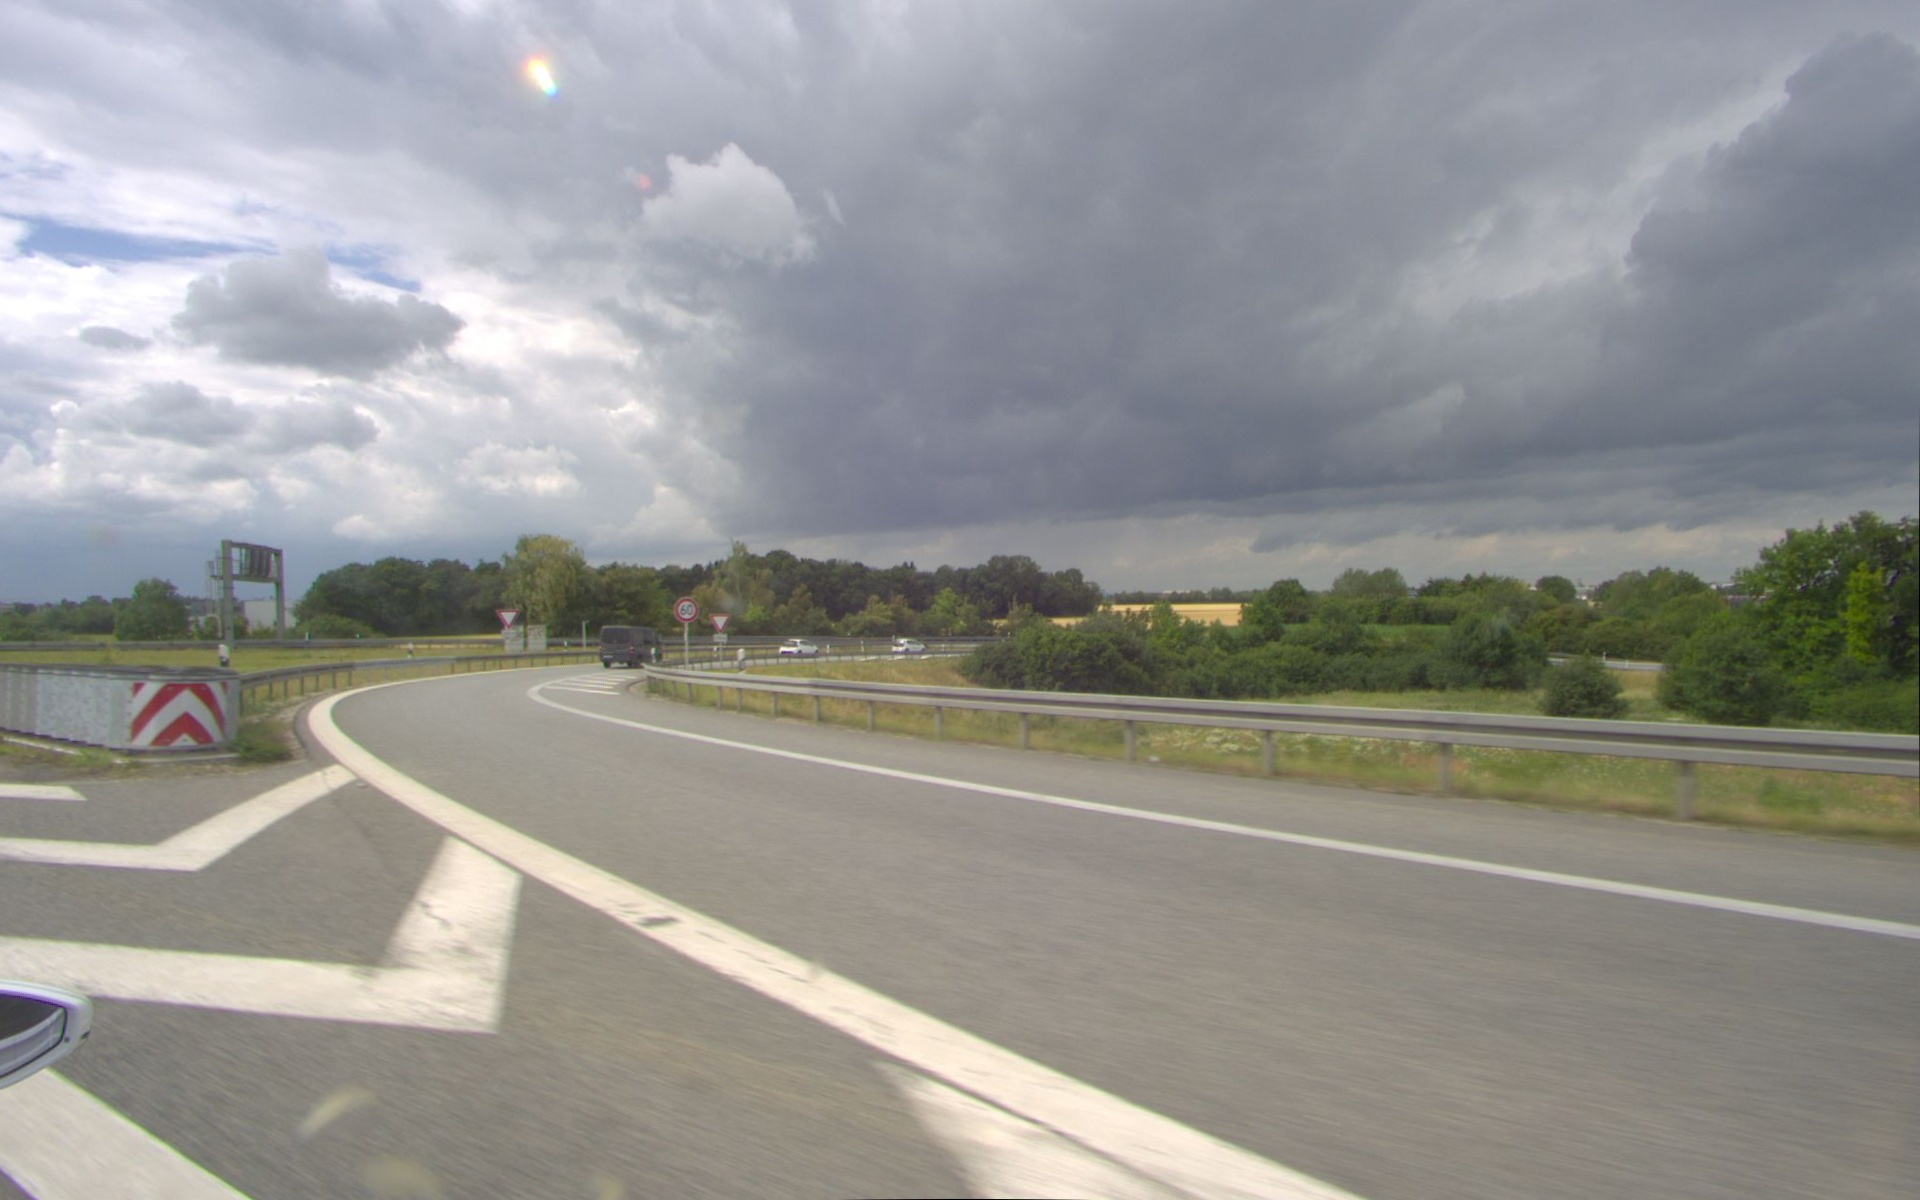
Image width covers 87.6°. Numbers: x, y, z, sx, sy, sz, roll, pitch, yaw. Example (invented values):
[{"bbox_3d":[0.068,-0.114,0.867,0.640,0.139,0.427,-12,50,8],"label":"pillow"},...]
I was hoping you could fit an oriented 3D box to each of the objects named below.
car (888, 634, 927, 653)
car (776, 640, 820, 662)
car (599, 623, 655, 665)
[{"bbox_3d":[-4.993,4.124,96.113,1.969,1.731,3.984,1,-1,29],"label":"car"},{"bbox_3d":[-13.383,4.184,82.841,1.964,1.731,3.994,1,-1,19],"label":"car"},{"bbox_3d":[-18.886,2.459,56.986,1.876,2.291,4.649,1,-1,-4],"label":"car"}]
